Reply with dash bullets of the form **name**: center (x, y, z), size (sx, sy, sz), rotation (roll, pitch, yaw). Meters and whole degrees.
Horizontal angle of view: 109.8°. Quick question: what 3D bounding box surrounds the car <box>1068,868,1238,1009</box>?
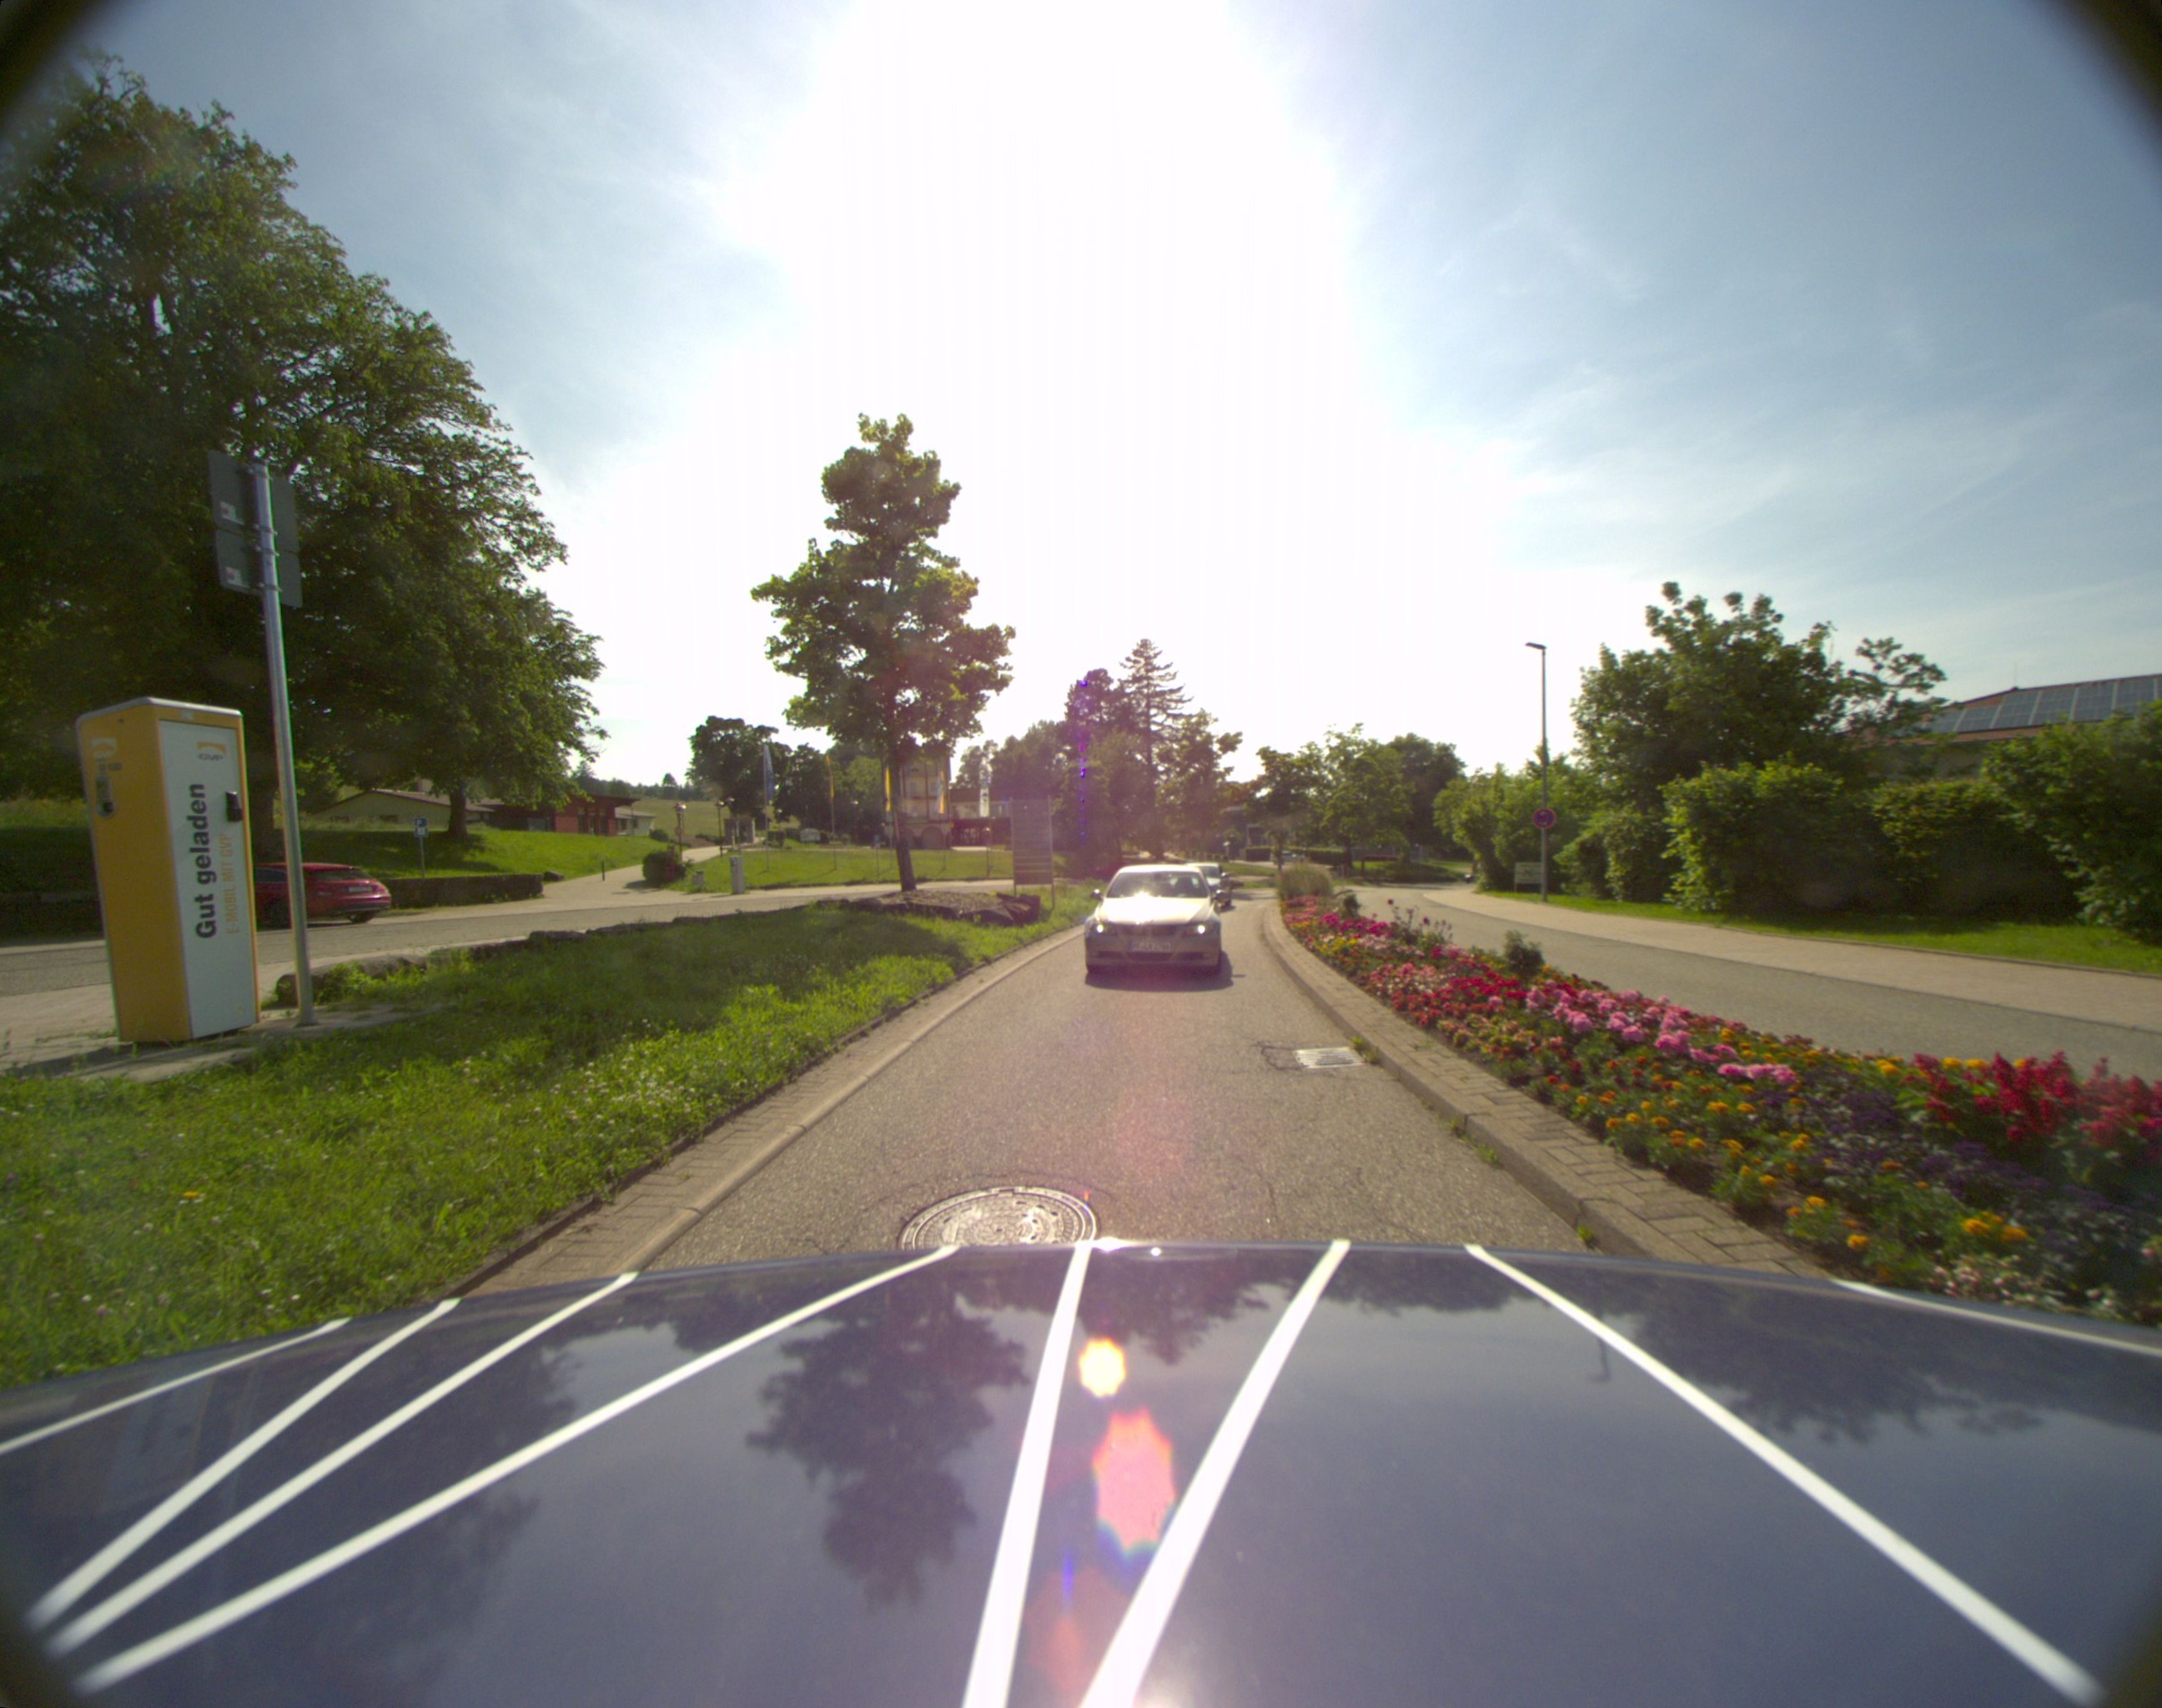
- **car**: center (1.135, 0.956, 10.579), size (1.837, 1.360, 4.584), rotation (1, 1, 9)

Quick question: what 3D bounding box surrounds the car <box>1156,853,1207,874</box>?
- **car**: center (8.786, 0.839, 66.686), size (2.004, 1.609, 3.987), rotation (1, 2, -42)

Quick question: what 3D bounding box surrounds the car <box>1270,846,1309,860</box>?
- **car**: center (25.924, -0.084, 94.449), size (4.371, 1.506, 1.791), rotation (2, 1, -13)

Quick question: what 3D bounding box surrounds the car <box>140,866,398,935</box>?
- **car**: center (-18.311, 1.010, 17.238), size (4.261, 1.420, 1.703), rotation (0, 1, 5)

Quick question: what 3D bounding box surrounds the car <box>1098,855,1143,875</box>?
- **car**: center (3.189, 0.870, 61.415), size (3.302, 1.396, 1.718), rotation (4, 3, 44)

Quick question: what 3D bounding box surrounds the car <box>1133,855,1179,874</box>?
- **car**: center (6.203, 0.885, 63.216), size (1.689, 1.419, 3.528), rotation (1, 2, -42)

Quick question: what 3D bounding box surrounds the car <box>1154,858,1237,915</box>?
- **car**: center (3.680, 0.945, 23.802), size (1.900, 1.499, 4.005), rotation (3, 1, 17)
